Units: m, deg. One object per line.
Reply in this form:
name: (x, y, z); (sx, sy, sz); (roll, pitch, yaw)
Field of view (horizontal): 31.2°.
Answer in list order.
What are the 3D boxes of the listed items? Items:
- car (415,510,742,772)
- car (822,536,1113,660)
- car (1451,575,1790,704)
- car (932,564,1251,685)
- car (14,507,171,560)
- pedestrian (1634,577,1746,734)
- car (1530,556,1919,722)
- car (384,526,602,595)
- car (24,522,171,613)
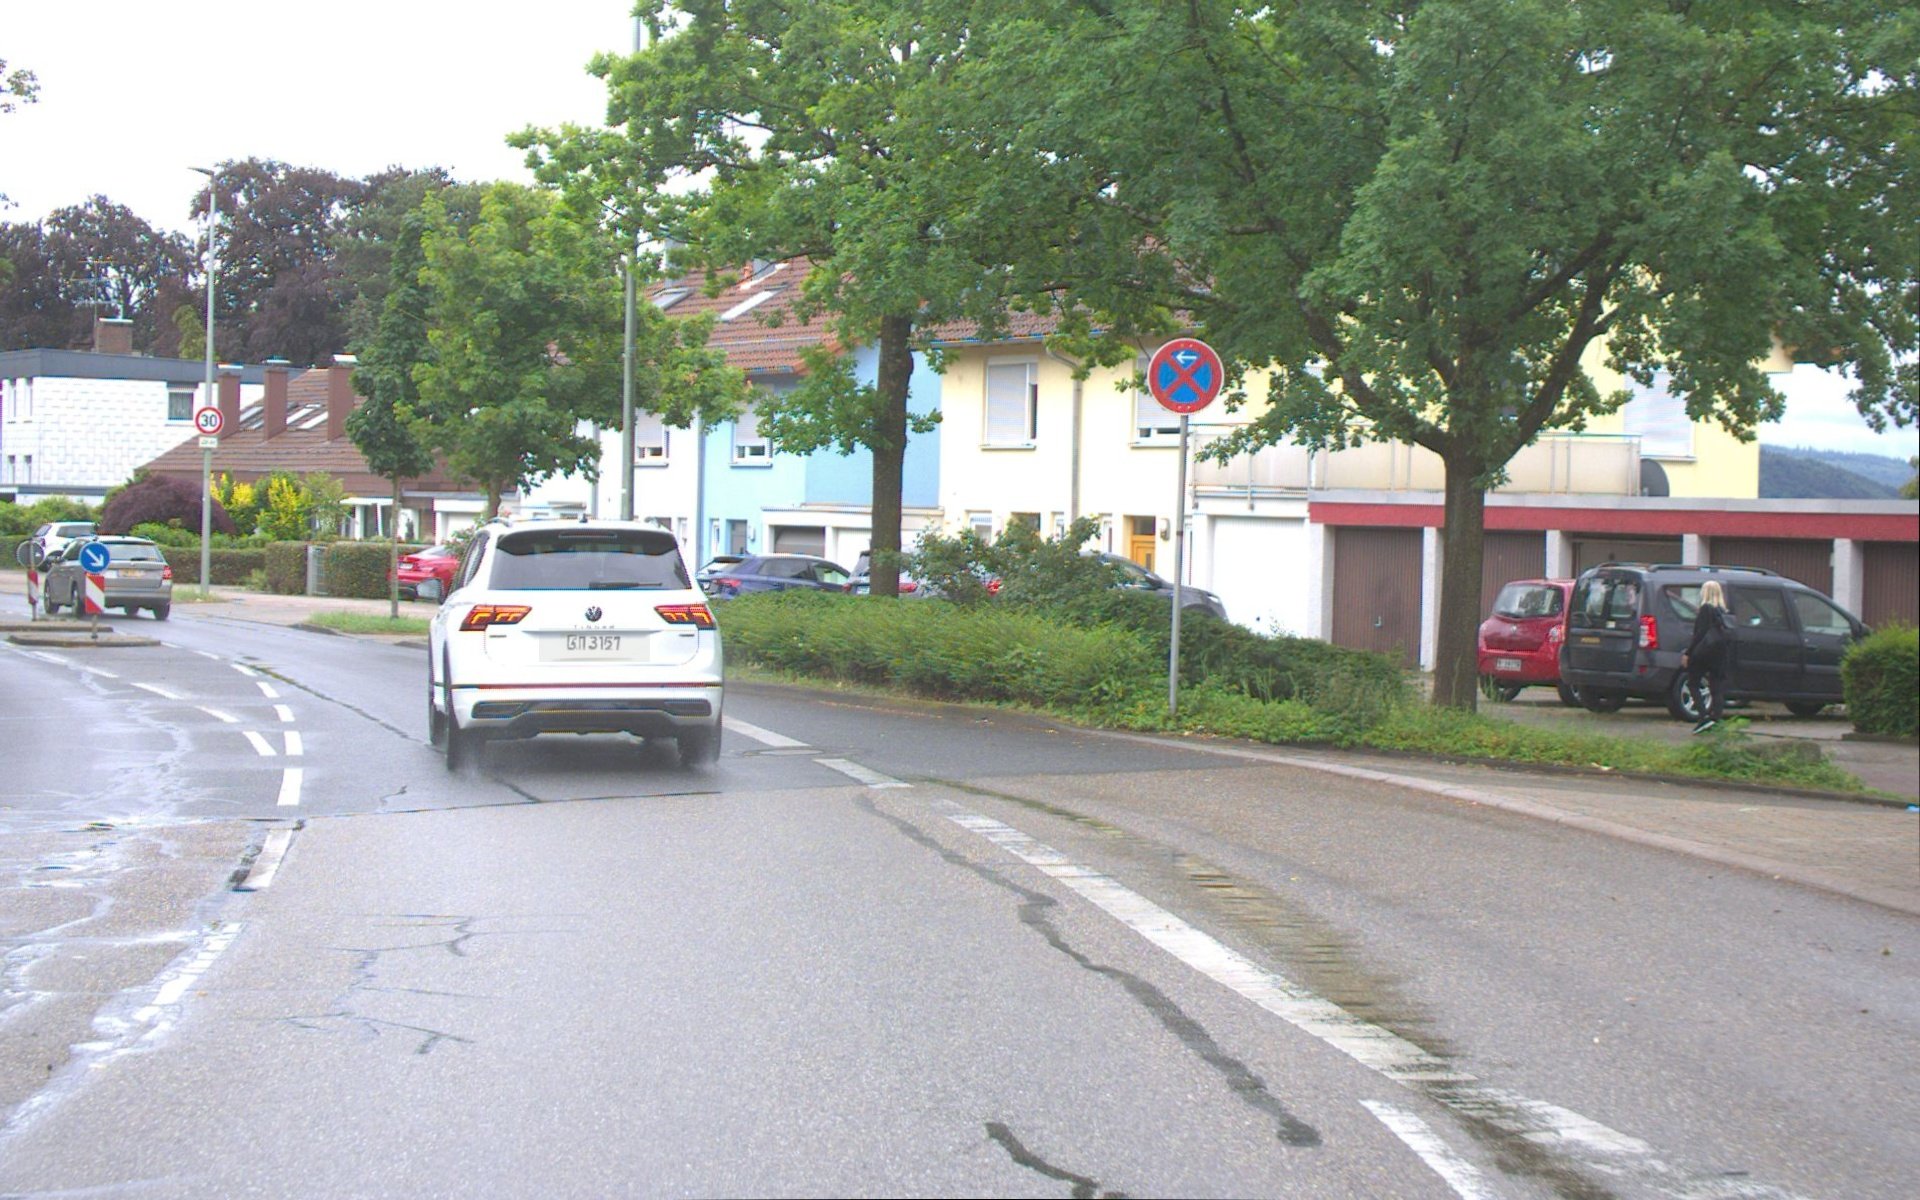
car: (-2.722, 0.227, 23.764); (1.864, 1.645, 4.001); (0, 1, -12)
car: (0.139, -0.022, 52.909); (4.180, 1.666, 1.721); (3, 0, -36)
car: (7.812, 0.462, 40.601); (3.692, 1.437, 1.707); (1, 1, -31)
car: (1.922, 0.361, 50.138); (4.179, 1.666, 1.992); (1, 1, -28)
car: (-24.841, -1.913, 98.511); (3.987, 1.437, 1.847); (0, 1, -31)
pedestrian: (7.404, 0.554, 34.881); (0.664, 1.552, 0.842); (1, 1, -34)
car: (8.483, 0.422, 37.938); (3.987, 1.715, 1.924); (1, 1, -31)
car: (-9.913, -0.841, 73.161); (4.304, 1.256, 1.679); (2, 1, -39)
car: (-15.480, -0.600, 61.571); (1.768, 1.546, 4.001); (1, 1, -26)
